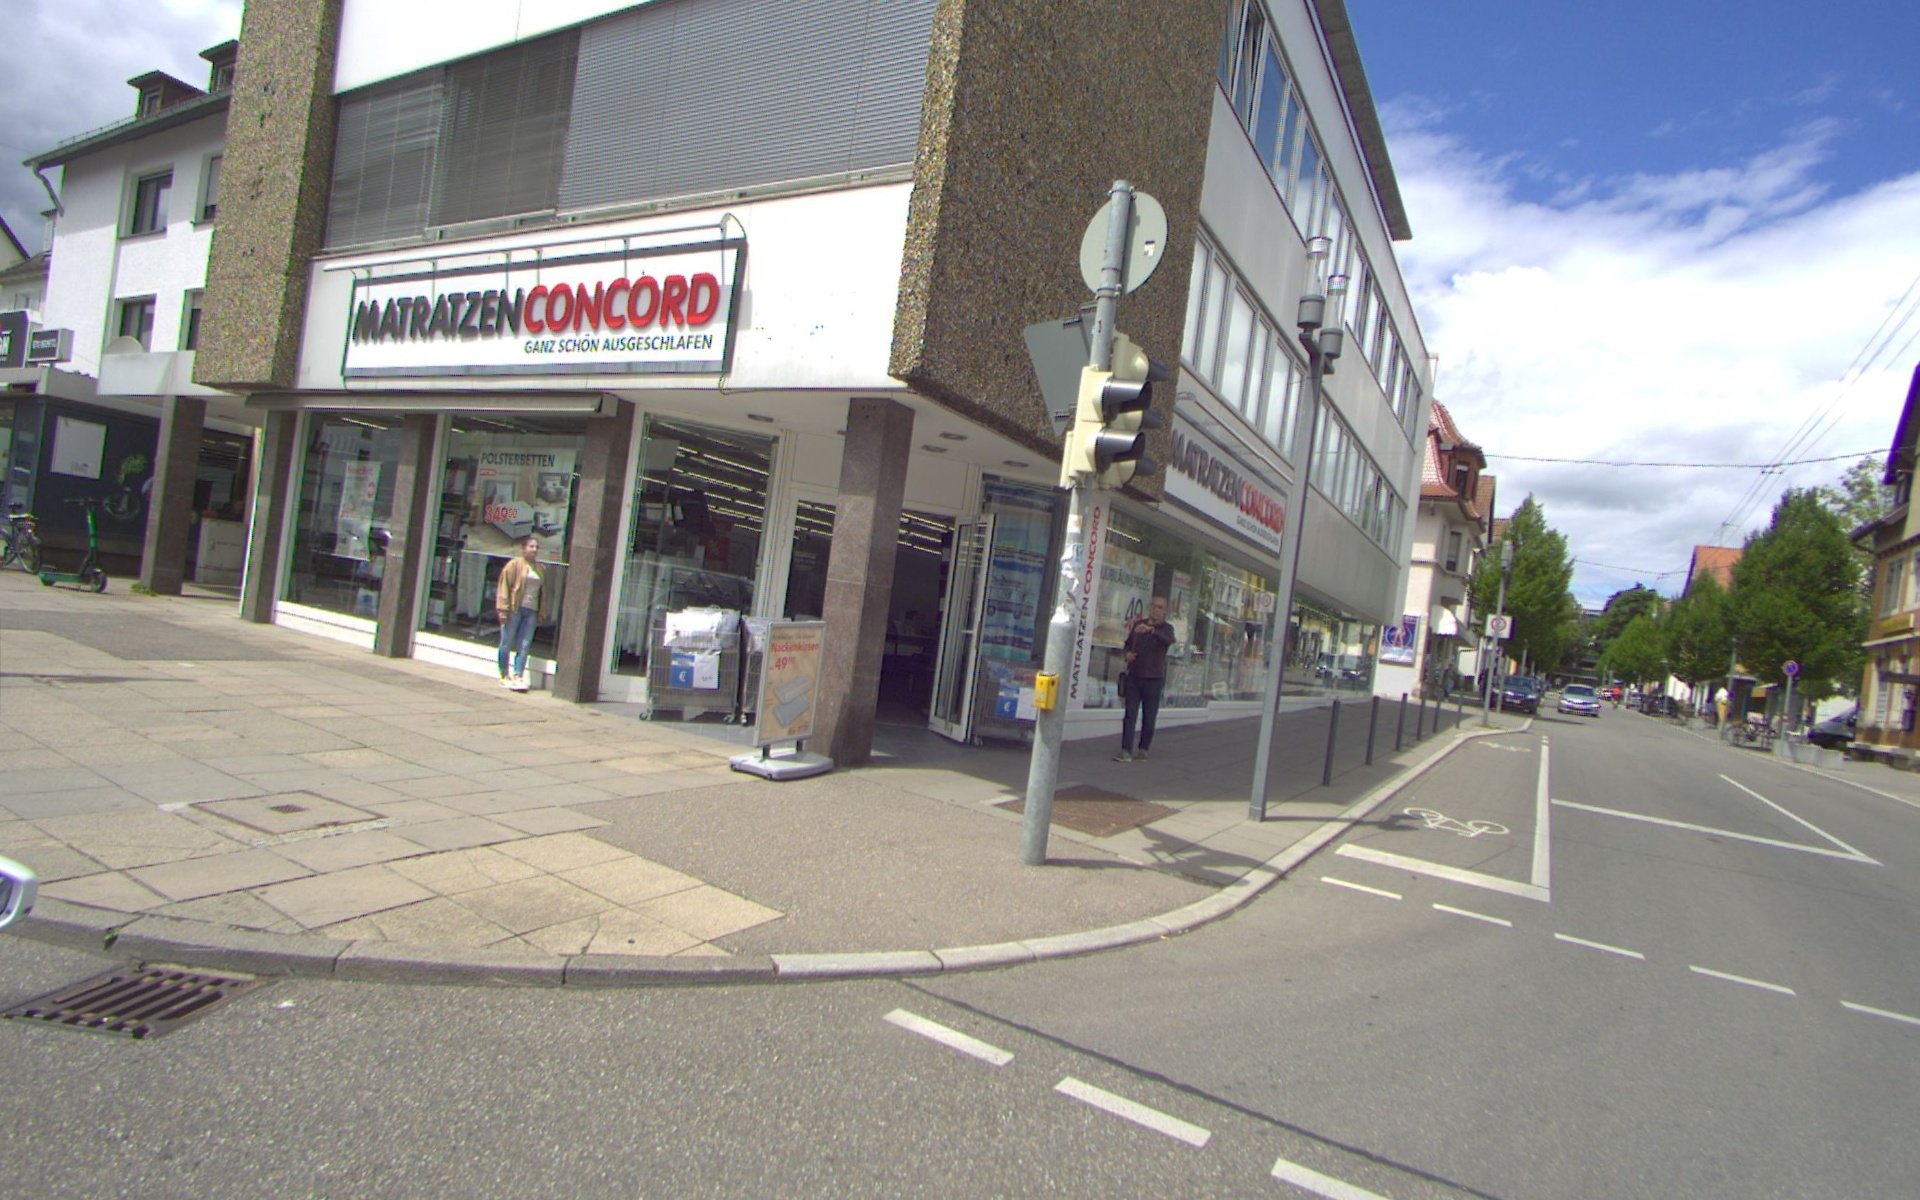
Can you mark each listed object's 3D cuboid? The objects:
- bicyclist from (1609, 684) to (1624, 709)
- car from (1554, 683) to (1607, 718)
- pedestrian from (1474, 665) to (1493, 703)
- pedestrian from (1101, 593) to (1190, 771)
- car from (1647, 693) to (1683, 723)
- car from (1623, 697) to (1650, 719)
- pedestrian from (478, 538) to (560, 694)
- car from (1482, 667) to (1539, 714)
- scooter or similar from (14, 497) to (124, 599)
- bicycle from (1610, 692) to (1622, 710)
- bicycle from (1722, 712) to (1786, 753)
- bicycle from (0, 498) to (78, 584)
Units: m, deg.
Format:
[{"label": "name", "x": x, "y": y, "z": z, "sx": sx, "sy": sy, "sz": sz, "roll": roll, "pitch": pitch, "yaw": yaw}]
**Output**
[{"label": "bicyclist", "x": 48.633, "y": 7.130, "z": 74.516, "sx": 0.681, "sy": 1.781, "sz": 0.944, "roll": 6, "pitch": -1, "yaw": 31}, {"label": "car", "x": 30.296, "y": 4.900, "z": 49.209, "sx": 1.676, "sy": 1.414, "sz": 3.999, "roll": 6, "pitch": -2, "yaw": 27}, {"label": "pedestrian", "x": 25.459, "y": 4.069, "z": 48.935, "sx": 0.569, "sy": 1.728, "sz": 0.619, "roll": 8, "pitch": 3, "yaw": 21}, {"label": "pedestrian", "x": 1.912, "y": 0.831, "z": 10.458, "sx": 0.608, "sy": 1.728, "sz": 0.579, "roll": 7, "pitch": 3, "yaw": -1}, {"label": "car", "x": 48.715, "y": 7.461, "z": 69.560, "sx": 1.652, "sy": 1.817, "sz": 3.812, "roll": 6, "pitch": -2, "yaw": 32}, {"label": "car", "x": 58.473, "y": 9.323, "z": 86.970, "sx": 1.592, "sy": 1.620, "sz": 3.675, "roll": 6, "pitch": -2, "yaw": 32}, {"label": "pedestrian", "x": -4.377, "y": 0.162, "z": 9.986, "sx": 0.493, "sy": 1.478, "sz": 0.502, "roll": 8, "pitch": 3, "yaw": 44}, {"label": "car", "x": 23.097, "y": 3.841, "z": 42.319, "sx": 1.793, "sy": 1.670, "sz": 3.999, "roll": 6, "pitch": -2, "yaw": 27}, {"label": "scooter or similar", "x": -12.345, "y": -0.719, "z": 13.943, "sx": 1.222, "sy": 1.270, "sz": 0.341, "roll": 6, "pitch": 2, "yaw": 5}, {"label": "bicycle", "x": 48.643, "y": 7.472, "z": 74.582, "sx": 0.552, "sy": 1.234, "sz": 1.716, "roll": 6, "pitch": -2, "yaw": 31}, {"label": "bicycle", "x": 29.010, "y": 4.831, "z": 36.787, "sx": 1.689, "sy": 1.234, "sz": 0.561, "roll": 6, "pitch": -1, "yaw": 32}, {"label": "bicycle", "x": -14.831, "y": -0.986, "z": 15.520, "sx": 2.256, "sy": 1.158, "sz": 0.556, "roll": 8, "pitch": 1, "yaw": 13}]
